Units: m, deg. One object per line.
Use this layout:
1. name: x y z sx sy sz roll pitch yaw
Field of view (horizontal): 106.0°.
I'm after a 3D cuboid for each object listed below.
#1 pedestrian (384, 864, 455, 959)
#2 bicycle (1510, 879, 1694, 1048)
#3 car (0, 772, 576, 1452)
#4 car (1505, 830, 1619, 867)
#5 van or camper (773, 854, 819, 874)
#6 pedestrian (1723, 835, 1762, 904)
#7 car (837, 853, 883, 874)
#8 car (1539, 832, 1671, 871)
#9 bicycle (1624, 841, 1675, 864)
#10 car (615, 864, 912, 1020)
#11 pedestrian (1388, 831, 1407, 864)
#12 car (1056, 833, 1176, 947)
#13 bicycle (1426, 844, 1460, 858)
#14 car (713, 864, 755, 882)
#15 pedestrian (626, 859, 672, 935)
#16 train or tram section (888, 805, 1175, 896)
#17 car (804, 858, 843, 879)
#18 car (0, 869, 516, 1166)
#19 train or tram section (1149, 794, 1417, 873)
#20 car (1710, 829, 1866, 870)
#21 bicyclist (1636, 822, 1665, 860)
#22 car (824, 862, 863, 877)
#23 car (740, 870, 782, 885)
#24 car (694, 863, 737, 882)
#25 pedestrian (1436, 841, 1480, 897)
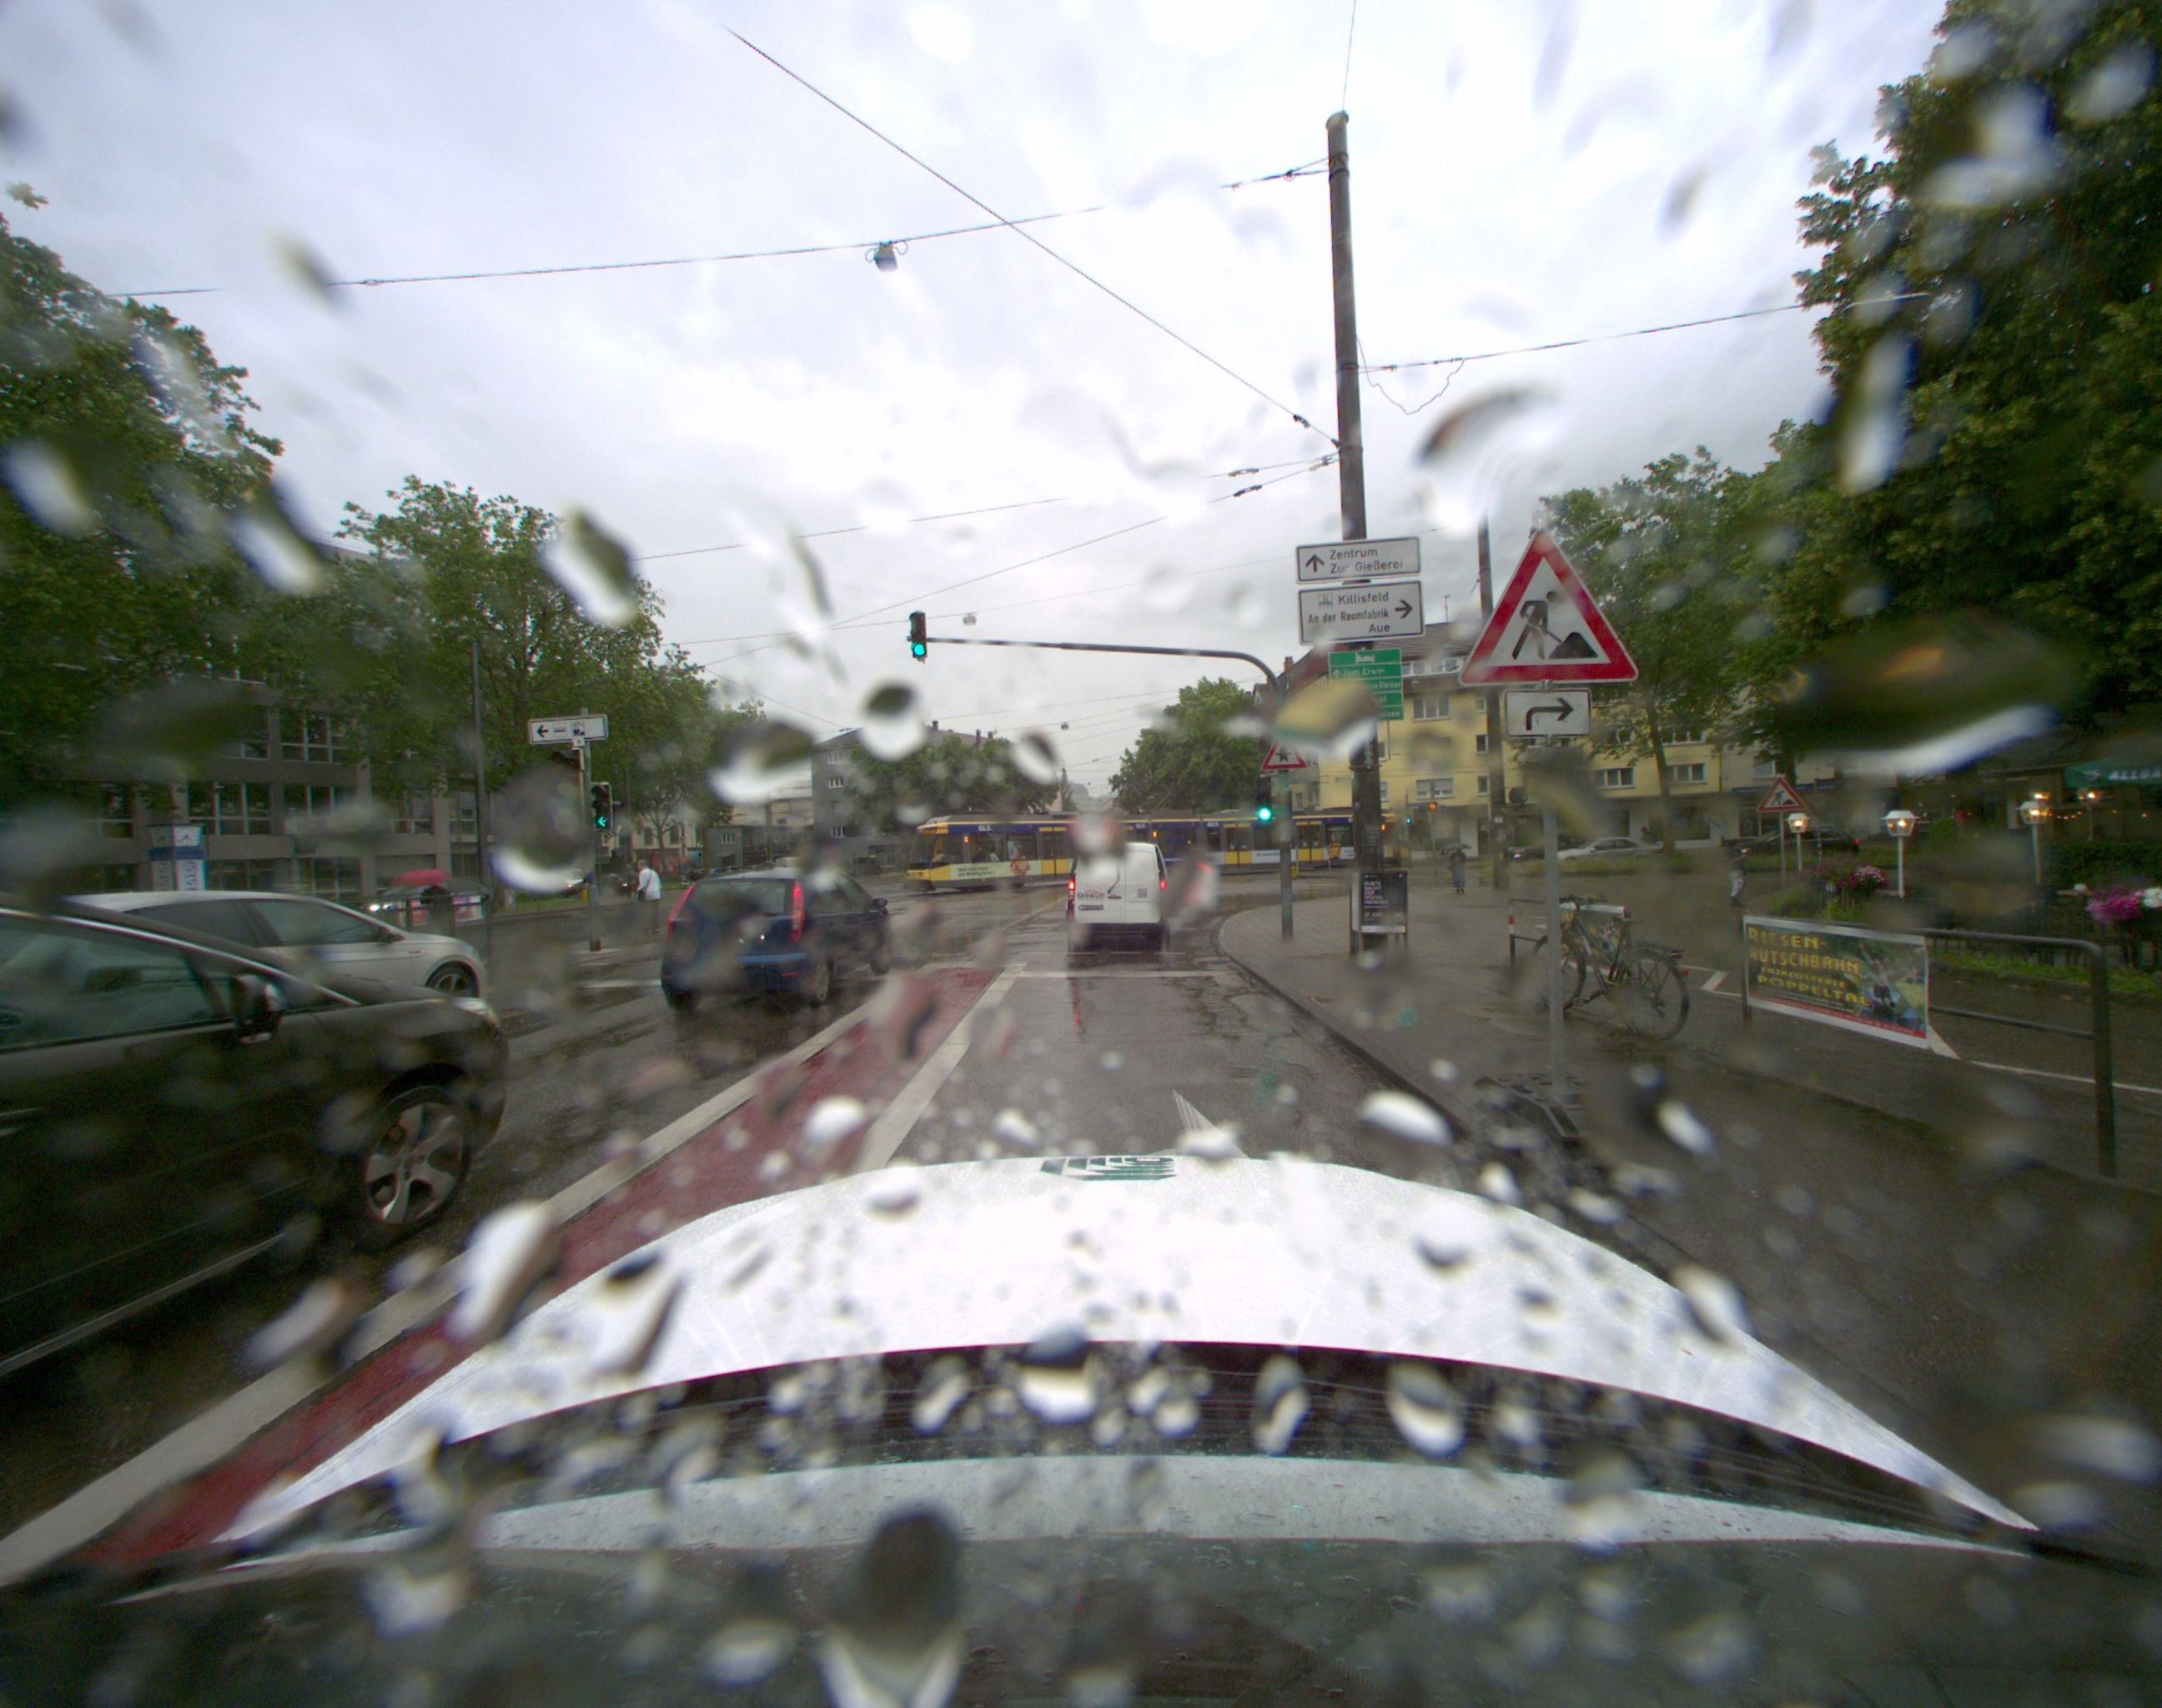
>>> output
1. pedestrian: -12.670 1.070 15.627 0.954 1.711 0.820 -3 1 -37
2. bicycle: 4.355 0.847 6.963 0.420 1.168 1.793 0 1 0
3. car: -3.623 0.664 2.120 1.794 1.709 4.194 -1 1 3
4. car: 22.651 -0.273 38.491 4.243 1.501 1.885 -2 1 10
5. van or camper: -30.901 1.032 88.422 1.975 2.075 4.682 -2 0 25
6. pedestrian: 16.345 0.378 20.126 0.546 1.644 0.389 -4 0 3
7. car: -23.243 1.020 85.839 2.041 2.013 4.426 -1 1 32
8. car: 22.601 -0.121 35.295 4.452 1.489 1.747 -2 1 15
9. bicycle: 26.583 -0.072 38.085 1.798 1.031 0.722 -1 1 12
10. car: -3.462 0.878 9.757 1.875 1.459 3.834 -1 -1 3
11. pedestrian: 16.767 -0.361 43.146 0.804 1.677 1.023 -2 0 28
12. car: 0.734 0.593 15.113 1.895 1.797 4.119 -1 -1 5
13. bicycle: 24.205 -0.190 54.483 2.024 0.897 0.616 -2 0 16
14. car: -39.501 2.107 92.694 1.974 2.014 4.025 -1 -1 31
15. pedestrian: -9.506 0.927 17.920 0.739 1.610 0.710 -3 1 -37
16. train or tram section: -1.689 -0.408 38.553 14.658 3.558 3.079 -4 1 -41
17. car: -27.861 1.580 88.245 1.977 2.013 4.019 -2 1 18
18. car: -6.908 0.994 6.397 1.799 1.536 4.194 -2 1 3
19. train or tram section: 11.271 -1.204 45.077 14.652 3.558 3.100 -3 1 -15
20. car: 29.482 -0.196 34.122 4.590 1.485 1.870 -2 1 15
21. bicyclist: 26.615 -0.605 38.059 0.881 1.716 0.717 -1 1 12
22. car: -25.531 1.662 87.689 1.933 1.625 4.020 -1 -1 20
23. car: -35.600 2.617 90.682 1.975 1.614 4.023 -2 -2 27
24. car: -42.103 2.093 93.832 1.974 1.928 4.026 -1 1 36
25. pedestrian: 11.551 0.454 24.991 1.093 1.666 1.002 -1 1 18
